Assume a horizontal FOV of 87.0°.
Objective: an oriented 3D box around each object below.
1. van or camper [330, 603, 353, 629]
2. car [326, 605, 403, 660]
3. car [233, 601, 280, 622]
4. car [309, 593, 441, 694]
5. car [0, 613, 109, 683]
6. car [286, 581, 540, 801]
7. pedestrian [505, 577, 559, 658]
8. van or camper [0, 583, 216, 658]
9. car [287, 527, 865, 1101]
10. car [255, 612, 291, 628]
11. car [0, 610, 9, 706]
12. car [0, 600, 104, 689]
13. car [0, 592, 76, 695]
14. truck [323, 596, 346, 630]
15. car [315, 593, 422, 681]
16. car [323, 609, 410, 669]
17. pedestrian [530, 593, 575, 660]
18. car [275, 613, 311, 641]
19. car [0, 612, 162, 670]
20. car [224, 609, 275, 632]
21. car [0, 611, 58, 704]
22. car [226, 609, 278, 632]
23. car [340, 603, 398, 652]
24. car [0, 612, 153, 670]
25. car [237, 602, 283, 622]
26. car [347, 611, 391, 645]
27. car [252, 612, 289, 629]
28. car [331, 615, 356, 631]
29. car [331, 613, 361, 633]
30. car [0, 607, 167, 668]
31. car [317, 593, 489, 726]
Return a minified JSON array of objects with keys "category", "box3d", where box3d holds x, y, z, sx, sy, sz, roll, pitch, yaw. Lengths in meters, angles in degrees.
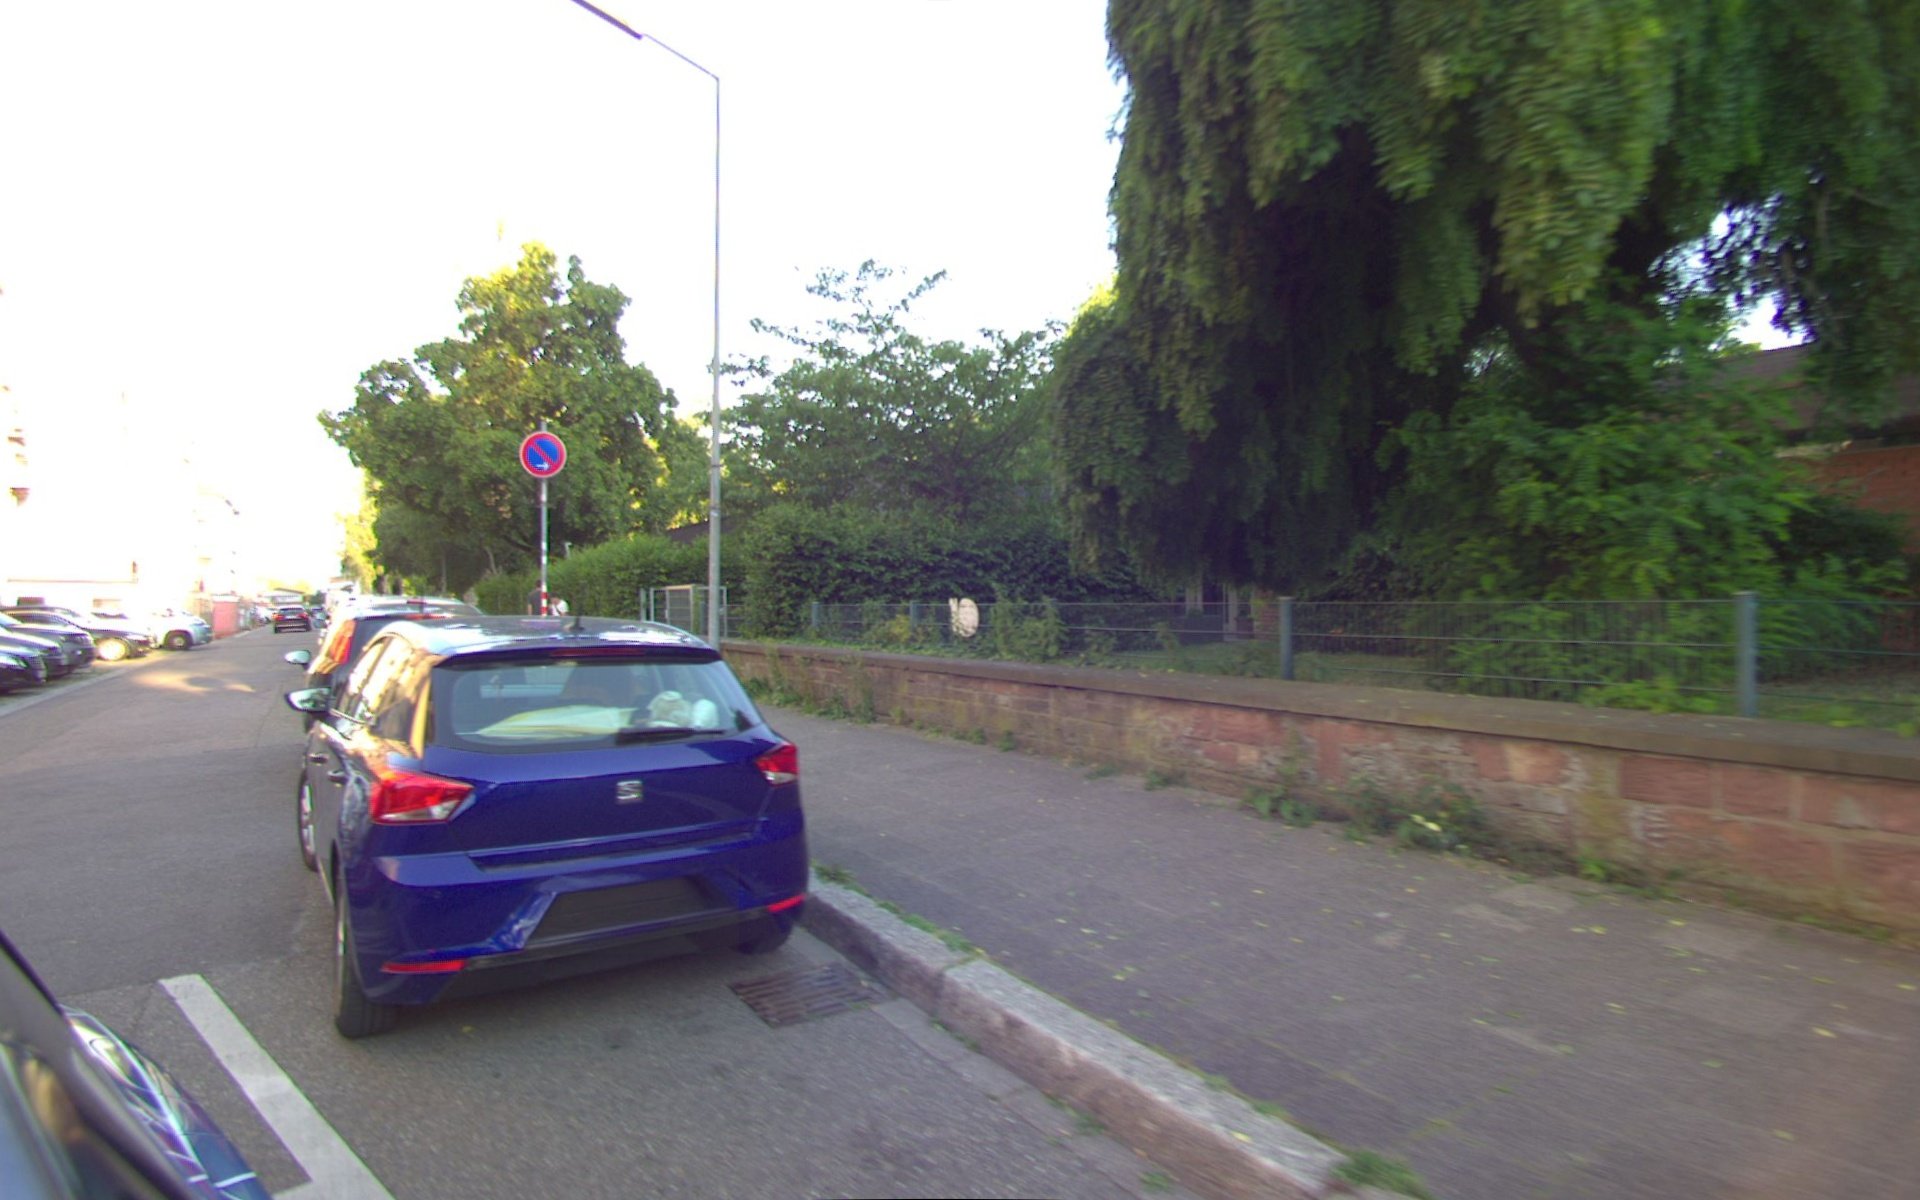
[{"category":"van or camper","box3d":[-59.246,1.491,96.976,1.795,2.433,4.303,0,-1,-33]},{"category":"car","box3d":[-18.407,0.964,31.207,1.735,1.554,4.291,0,-1,-35]},{"category":"car","box3d":[-74.467,1.246,107.126,3.933,2.029,2.006,-3,1,-32]},{"category":"car","box3d":[-10.505,0.707,18.030,1.710,1.579,4.178,0,-1,-35]},{"category":"car","box3d":[-23.194,1.132,24.000,4.342,1.565,1.851,0,1,-30]},{"category":"car","box3d":[-5.120,0.677,9.305,1.710,1.579,3.707,0,-1,-32]},{"category":"pedestrian","box3d":[-9.749,0.390,23.066,0.887,1.745,0.752,-5,2,-33]},{"category":"van or camper","box3d":[-30.734,0.725,36.639,5.976,2.523,2.056,0,-1,-32]},{"category":"car","box3d":[-2.145,0.614,4.842,1.710,1.579,3.800,0,-1,-35]},{"category":"car","box3d":[-92.867,2.693,136.822,3.933,2.029,2.006,-3,1,-32]},{"category":"car","box3d":[-17.833,0.999,15.596,4.343,1.604,1.851,0,1,-32]},{"category":"car","box3d":[-21.532,0.950,21.827,4.450,1.877,1.851,0,-1,-32]},{"category":"car","box3d":[-20.451,0.850,19.740,4.573,1.996,1.851,0,1,-32]},{"category":"truck","box3d":[-73.860,1.530,119.525,2.147,3.911,4.941,-3,1,-32]},{"category":"car","box3d":[-13.069,0.758,22.254,1.710,1.743,4.334,0,-1,-35]},{"category":"car","box3d":[-15.832,0.983,26.901,1.710,1.437,4.298,0,-1,-35]},{"category":"pedestrian","box3d":[-9.856,0.631,24.465,0.738,1.519,0.904,-5,2,-34]},{"category":"car","box3d":[-40.442,1.614,61.408,1.710,1.644,4.137,0,-1,-32]},{"category":"car","box3d":[-26.474,1.175,29.881,4.342,1.565,1.851,0,1,-31]},{"category":"car","box3d":[-70.034,2.022,99.823,3.933,2.029,2.006,-3,1,-32]},{"category":"car","box3d":[-18.947,1.036,17.799,4.343,1.574,1.851,0,1,-32]},{"category":"car","box3d":[-68.385,1.986,97.841,3.933,2.029,2.006,-3,1,-32]},{"category":"car","box3d":[-21.165,0.964,36.193,1.709,1.644,3.992,0,-1,-31]},{"category":"car","box3d":[-29.898,1.356,33.777,4.343,1.630,1.851,-2,3,-30]},{"category":"car","box3d":[-75.953,1.269,109.932,3.933,2.029,2.006,-3,1,-32]},{"category":"car","box3d":[-26.579,1.239,45.482,1.597,1.436,3.425,0,-1,-32]},{"category":"car","box3d":[-91.728,2.680,134.664,3.933,2.029,2.006,-3,1,-32]},{"category":"car","box3d":[-53.217,1.986,87.287,1.710,1.377,4.303,0,-1,-33]},{"category":"car","box3d":[-43.582,1.626,71.750,1.710,1.377,4.303,0,-1,-33]},{"category":"car","box3d":[-27.984,1.150,31.979,4.342,1.761,1.852,0,1,-28]},{"category":"car","box3d":[-7.931,0.741,14.218,1.710,1.579,4.140,0,-1,-35]}]
